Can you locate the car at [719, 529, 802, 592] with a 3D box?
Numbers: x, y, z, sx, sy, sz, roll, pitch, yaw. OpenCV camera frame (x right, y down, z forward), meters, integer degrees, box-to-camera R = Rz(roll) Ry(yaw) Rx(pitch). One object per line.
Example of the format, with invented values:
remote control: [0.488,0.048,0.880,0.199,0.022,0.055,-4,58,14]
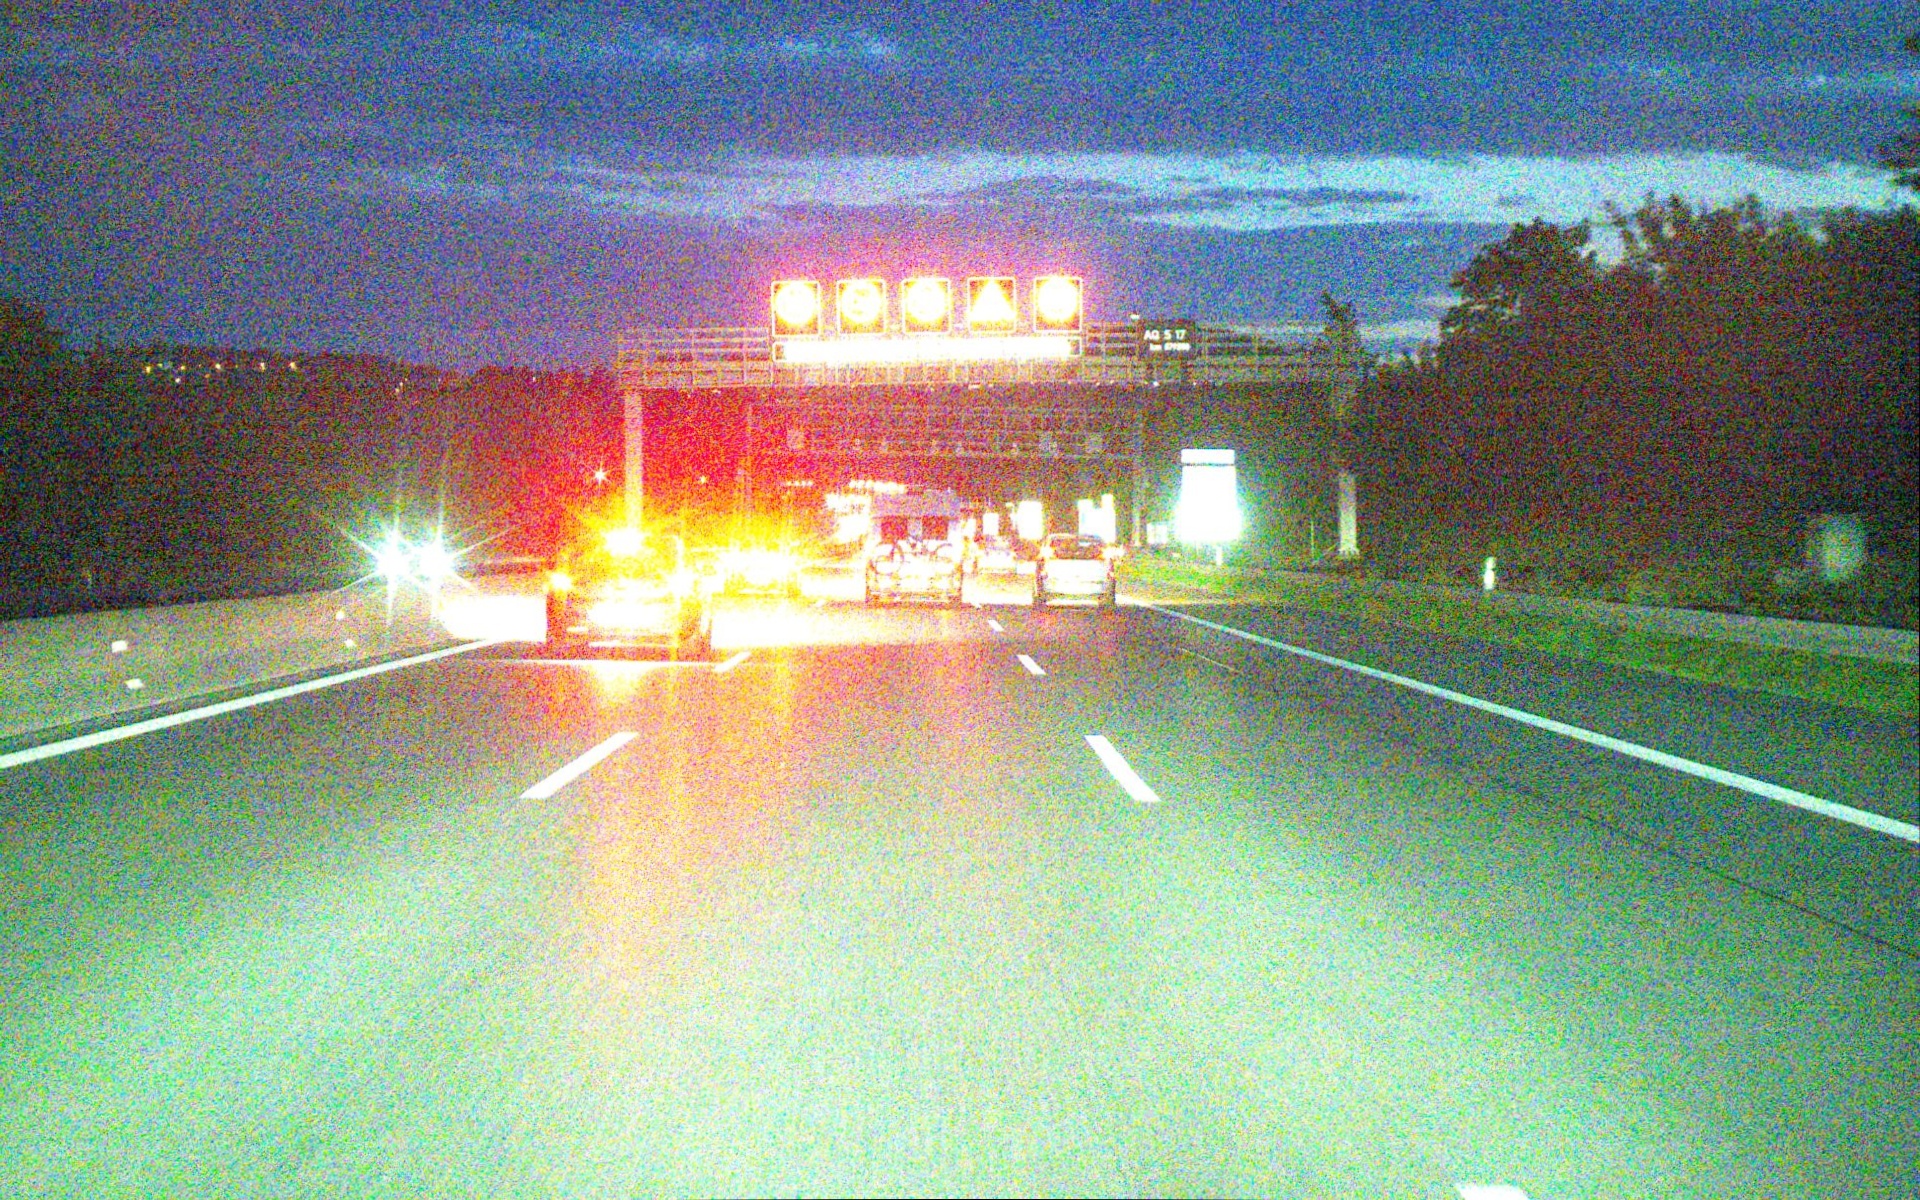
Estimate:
car: [-4.731,-0.967,82.018,1.744,1.435,4.368,0,1,0]

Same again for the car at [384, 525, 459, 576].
car: [-17.479,-1.622,111.806,1.903,1.612,4.405,-1,1,-2]

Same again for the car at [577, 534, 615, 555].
car: [-22.555,-3.437,213.237,1.903,1.278,4.350,-1,1,0]

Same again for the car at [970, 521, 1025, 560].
car: [1.518,-2.450,141.556,2.163,1.558,4.723,0,1,0]

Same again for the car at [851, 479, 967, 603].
car: [-1.062,-1.272,73.022,2.351,2.526,5.701,0,1,0]

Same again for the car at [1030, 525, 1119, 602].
car: [2.435,-0.793,73.954,1.646,1.591,4.510,1,1,-1]

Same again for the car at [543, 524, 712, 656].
car: [-3.924,-0.159,41.058,1.793,1.464,3.773,1,1,-2]
